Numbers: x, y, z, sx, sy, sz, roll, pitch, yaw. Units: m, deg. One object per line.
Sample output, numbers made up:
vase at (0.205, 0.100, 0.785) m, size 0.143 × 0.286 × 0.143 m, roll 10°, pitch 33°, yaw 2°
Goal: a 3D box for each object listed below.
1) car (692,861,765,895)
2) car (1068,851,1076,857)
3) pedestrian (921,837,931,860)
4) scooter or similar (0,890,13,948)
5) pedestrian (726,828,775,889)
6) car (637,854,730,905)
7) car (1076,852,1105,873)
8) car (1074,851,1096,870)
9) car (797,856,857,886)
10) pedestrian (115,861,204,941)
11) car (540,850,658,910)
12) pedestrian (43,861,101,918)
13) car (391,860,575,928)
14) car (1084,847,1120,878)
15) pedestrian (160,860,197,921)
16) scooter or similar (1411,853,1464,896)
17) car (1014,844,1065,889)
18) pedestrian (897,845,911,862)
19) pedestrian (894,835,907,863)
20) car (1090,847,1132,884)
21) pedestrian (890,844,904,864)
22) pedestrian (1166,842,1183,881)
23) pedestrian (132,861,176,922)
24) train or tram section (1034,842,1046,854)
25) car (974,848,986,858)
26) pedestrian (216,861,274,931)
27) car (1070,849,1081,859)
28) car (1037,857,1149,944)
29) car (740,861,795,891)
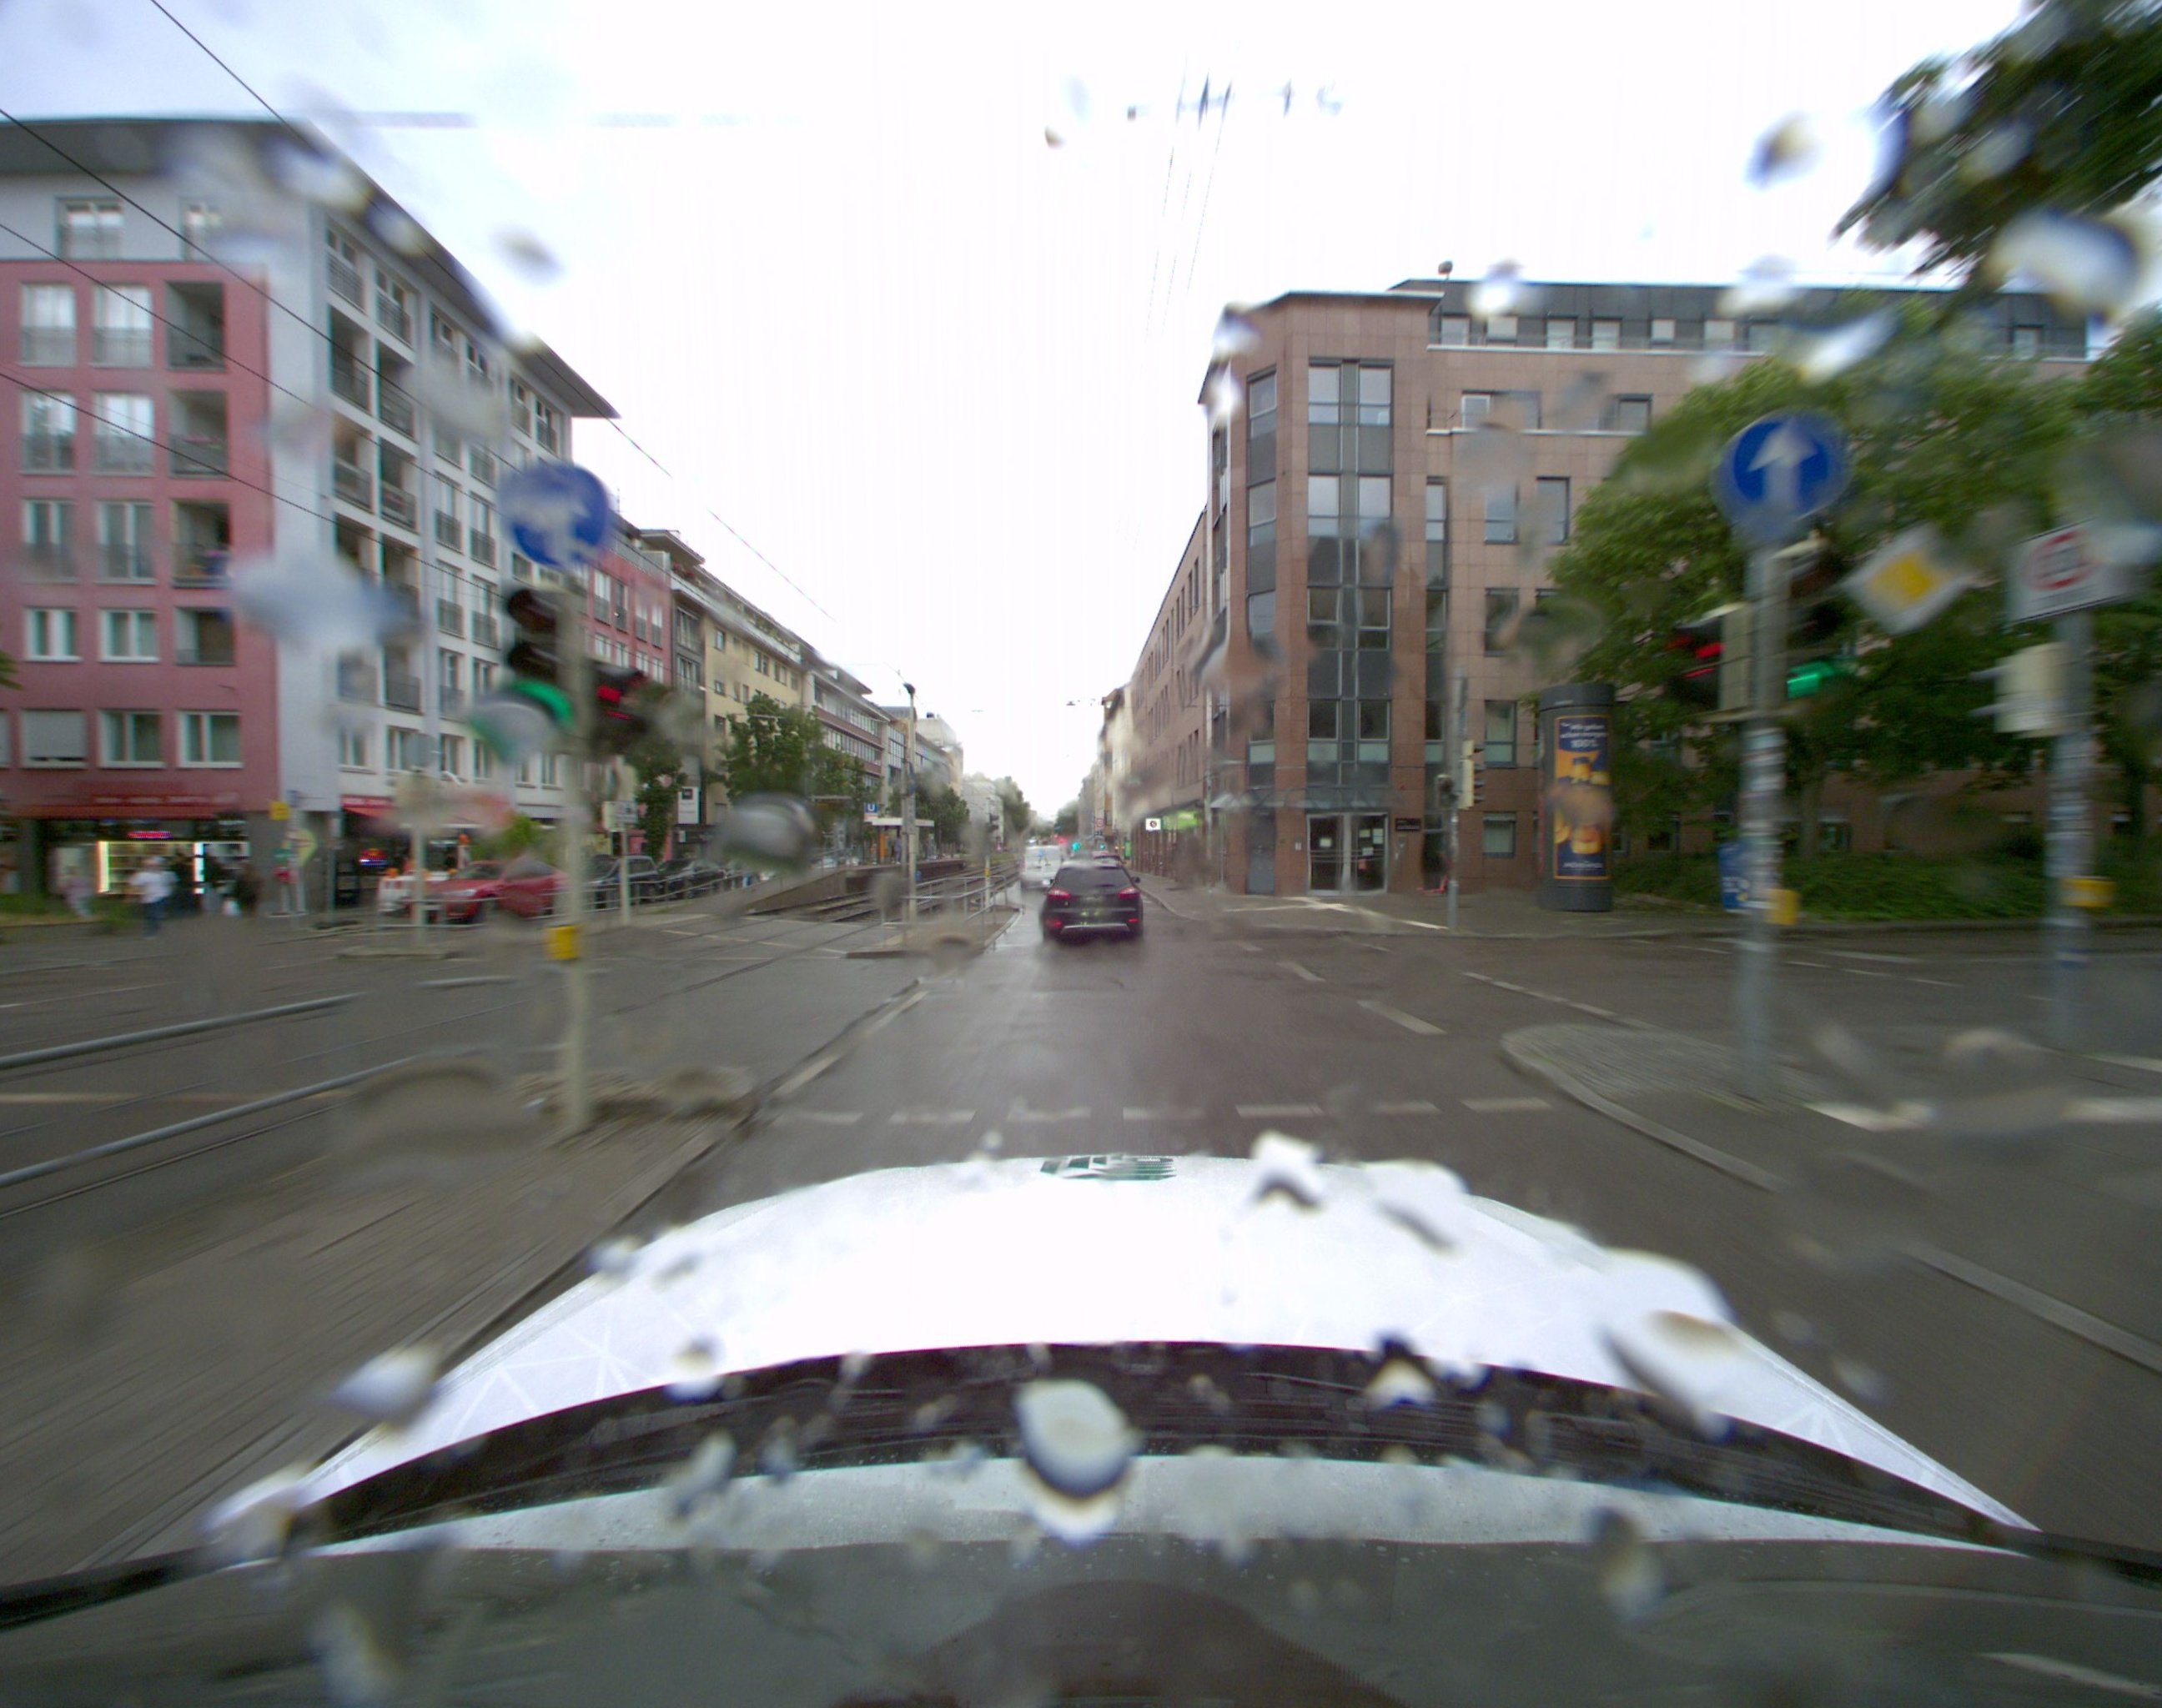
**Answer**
car at (-16.505, 1.071, 38.375) m, size 1.837 × 1.436 × 4.312 m, roll -1°, pitch 0°, yaw -4°
car at (-2.334, 0.003, 207.520) m, size 1.900 × 1.633 × 4.572 m, roll -1°, pitch -1°, yaw 0°
pedestrian at (-12.071, -0.420, 63.548) m, size 0.654 × 1.801 × 0.849 m, roll -1°, pitch 0°, yaw -4°
scooter or similar at (-22.563, 1.339, 16.442) m, size 0.388 × 1.191 × 1.211 m, roll -1°, pitch -1°, yaw 0°
pedestrian at (-11.268, 0.167, 27.828) m, size 1.113 × 2.014 × 1.382 m, roll -1°, pitch -1°, yaw -2°
car at (-15.960, 0.967, 32.925) m, size 1.799 × 1.858 × 4.374 m, roll -1°, pitch 0°, yaw -4°
car at (0.641, 0.601, 59.033) m, size 1.770 × 1.468 × 4.603 m, roll -1°, pitch 0°, yaw -4°
car at (0.310, 0.539, 74.210) m, size 1.802 × 1.631 × 5.166 m, roll -1°, pitch 0°, yaw -2°
car at (-14.211, 0.922, 45.809) m, size 1.801 × 1.578 × 5.019 m, roll -1°, pitch 0°, yaw -1°
pedestrian at (-20.276, 1.015, 17.939) m, size 0.819 × 1.697 × 0.983 m, roll 1°, pitch -1°, yaw -10°
car at (-16.474, 0.836, 28.106) m, size 1.704 × 1.858 × 4.315 m, roll -1°, pitch 0°, yaw -4°
pedestrian at (-26.362, 0.919, 21.294) m, size 0.638 × 1.461 × 0.655 m, roll 1°, pitch -1°, yaw -3°
car at (-16.377, 1.006, 22.666) m, size 1.720 × 1.612 × 4.552 m, roll -1°, pitch 0°, yaw 0°
car at (1.061, 0.454, 42.490) m, size 1.694 × 1.462 × 3.865 m, roll -3°, pitch -1°, yaw -1°
pedestrian at (-24.660, 0.977, 22.263) m, size 0.548 × 1.632 × 0.568 m, roll 1°, pitch -1°, yaw -38°
scooter or similar at (10.335, 0.590, 23.645) m, size 1.369 × 1.227 × 0.325 m, roll -1°, pitch -1°, yaw 1°
car at (-1.918, 0.541, 36.439) m, size 1.905 × 1.865 × 4.562 m, roll -1°, pitch -1°, yaw -7°
pedestrian at (-11.833, -0.023, 54.541) m, size 0.893 × 1.123 × 0.846 m, roll -1°, pitch 0°, yaw -12°
pedestrian at (-11.149, -0.329, 50.258) m, size 0.654 × 1.711 × 0.849 m, roll -1°, pitch 0°, yaw -4°
car at (1.316, 0.514, 36.791) m, size 1.693 × 1.479 × 3.866 m, roll -3°, pitch -1°, yaw 0°
pedestrian at (-11.871, -0.020, 52.530) m, size 0.691 × 1.249 × 0.883 m, roll -1°, pitch 0°, yaw -4°
pedestrian at (4.044, 0.340, 35.323) m, size 0.600 × 1.659 × 0.625 m, roll -1°, pitch -1°, yaw -1°
pedestrian at (-25.350, 1.004, 22.272) m, size 0.581 × 1.632 × 0.606 m, roll 1°, pitch -1°, yaw -27°
train or tram section at (-13.404, -1.923, 264.653) m, size 3.506 × 3.777 × 11.315 m, roll -1°, pitch 0°, yaw -4°
car at (-19.059, -0.193, 154.120) m, size 1.903 × 1.865 × 4.566 m, roll -1°, pitch -1°, yaw -4°
pedestrian at (-20.641, 1.019, 20.117) m, size 0.871 × 1.631 × 0.813 m, roll 1°, pitch 2°, yaw 33°
car at (-0.914, 0.033, 145.581) m, size 1.900 × 1.633 × 4.572 m, roll -1°, pitch -1°, yaw 0°
car at (0.188, 0.812, 15.692) m, size 1.901 × 1.462 × 3.443 m, roll -1°, pitch -1°, yaw -1°
car at (-16.472, 1.124, 42.947) m, size 1.565 × 1.436 × 3.973 m, roll -1°, pitch 0°, yaw -4°
